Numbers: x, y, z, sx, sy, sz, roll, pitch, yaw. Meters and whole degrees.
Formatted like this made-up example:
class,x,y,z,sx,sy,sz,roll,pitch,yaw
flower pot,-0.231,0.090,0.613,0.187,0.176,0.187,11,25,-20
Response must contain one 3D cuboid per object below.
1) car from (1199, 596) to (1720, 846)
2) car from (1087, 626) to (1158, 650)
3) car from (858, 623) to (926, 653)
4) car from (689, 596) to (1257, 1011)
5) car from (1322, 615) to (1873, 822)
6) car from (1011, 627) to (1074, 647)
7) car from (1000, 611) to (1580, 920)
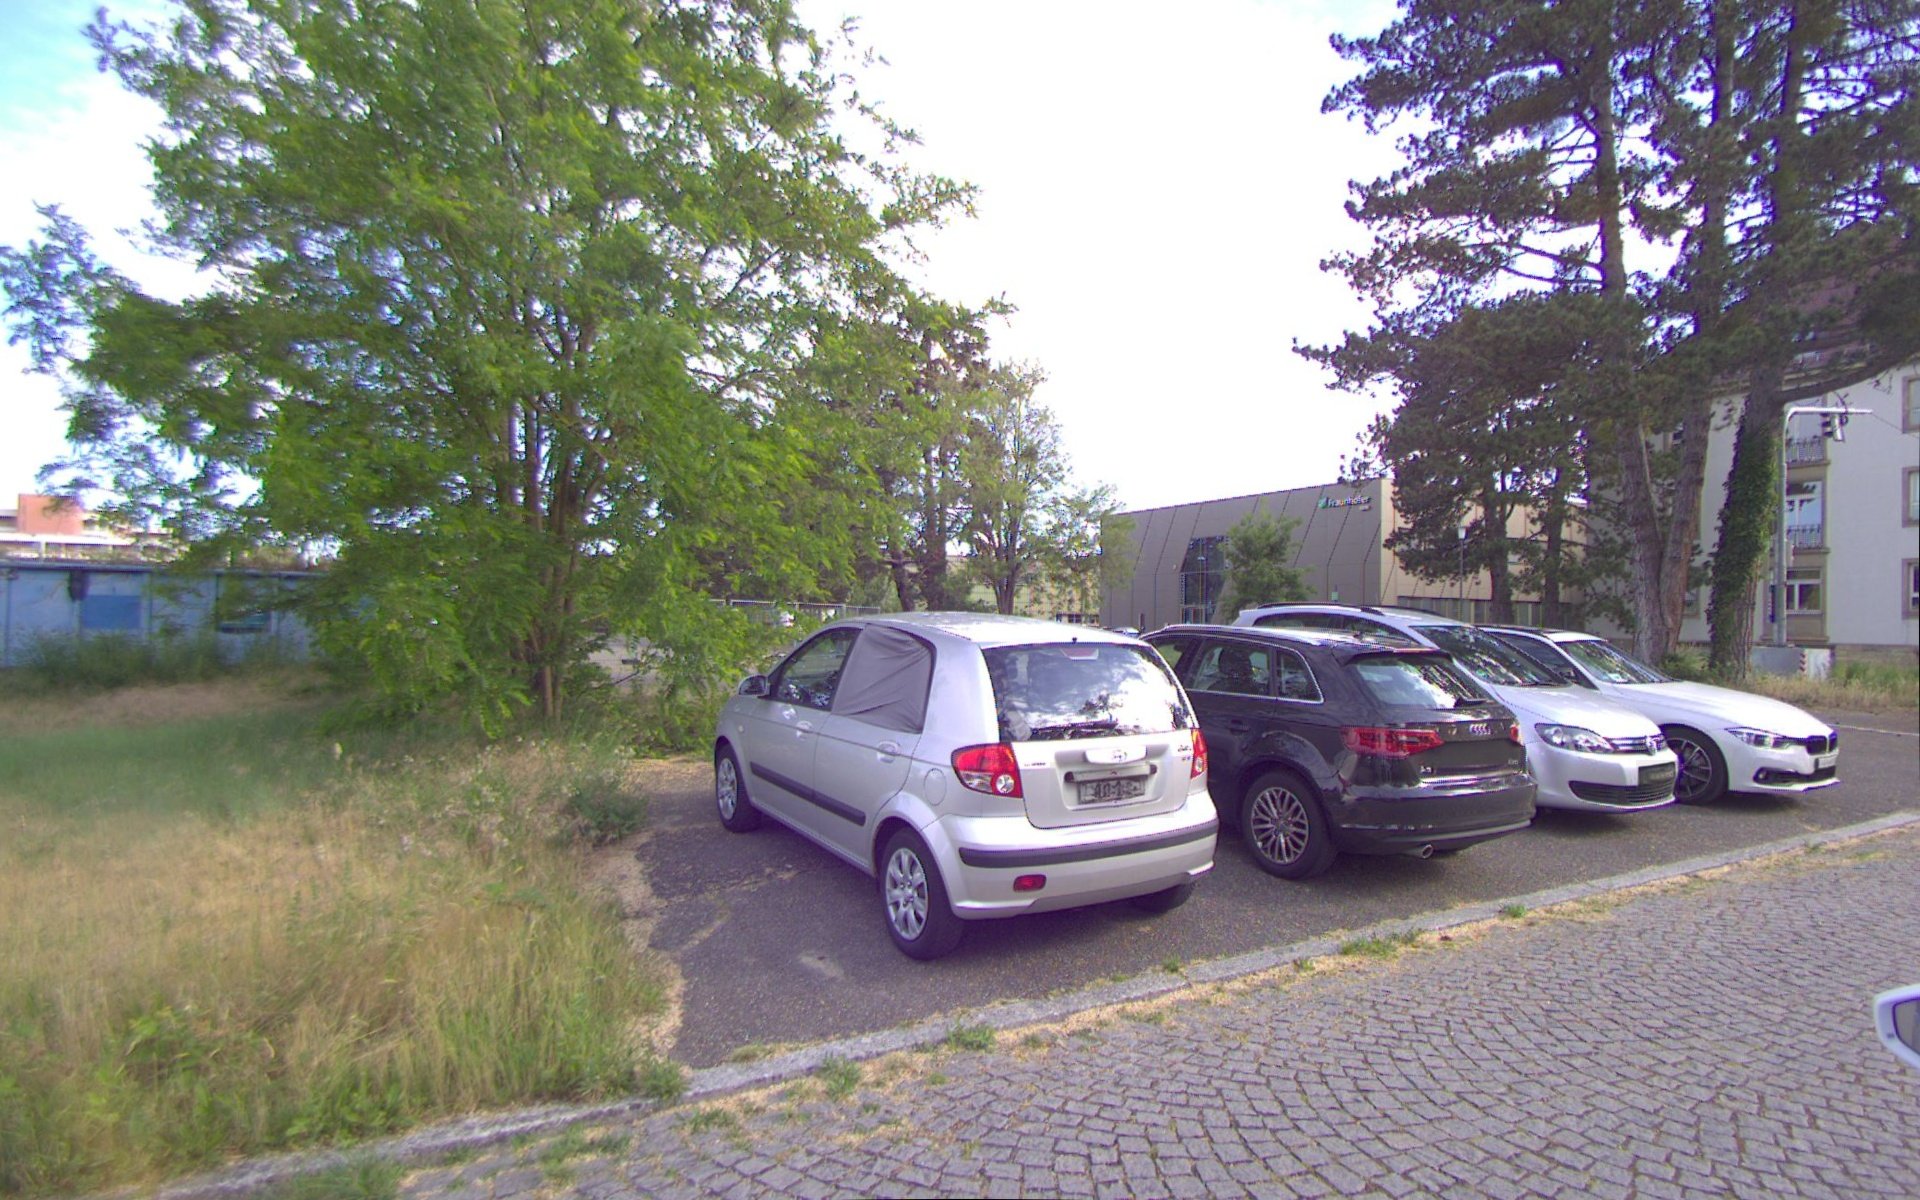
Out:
class,x,y,z,sx,sy,sz,roll,pitch,yaw
car,4.156,0.843,8.974,1.716,1.629,3.810,1,1,-32
car,9.968,2.330,61.517,4.078,1.433,1.752,1,-1,-27
car,-3.279,1.778,47.603,1.575,1.355,3.707,1,-2,-34
car,-0.234,0.804,5.839,1.629,1.495,3.557,2,1,-32
car,6.225,0.997,10.406,1.810,1.461,4.451,1,1,-33
car,5.736,2.574,69.618,4.143,1.289,1.600,1,-1,-27
car,2.020,0.890,7.249,1.675,1.427,3.817,1,1,-30
